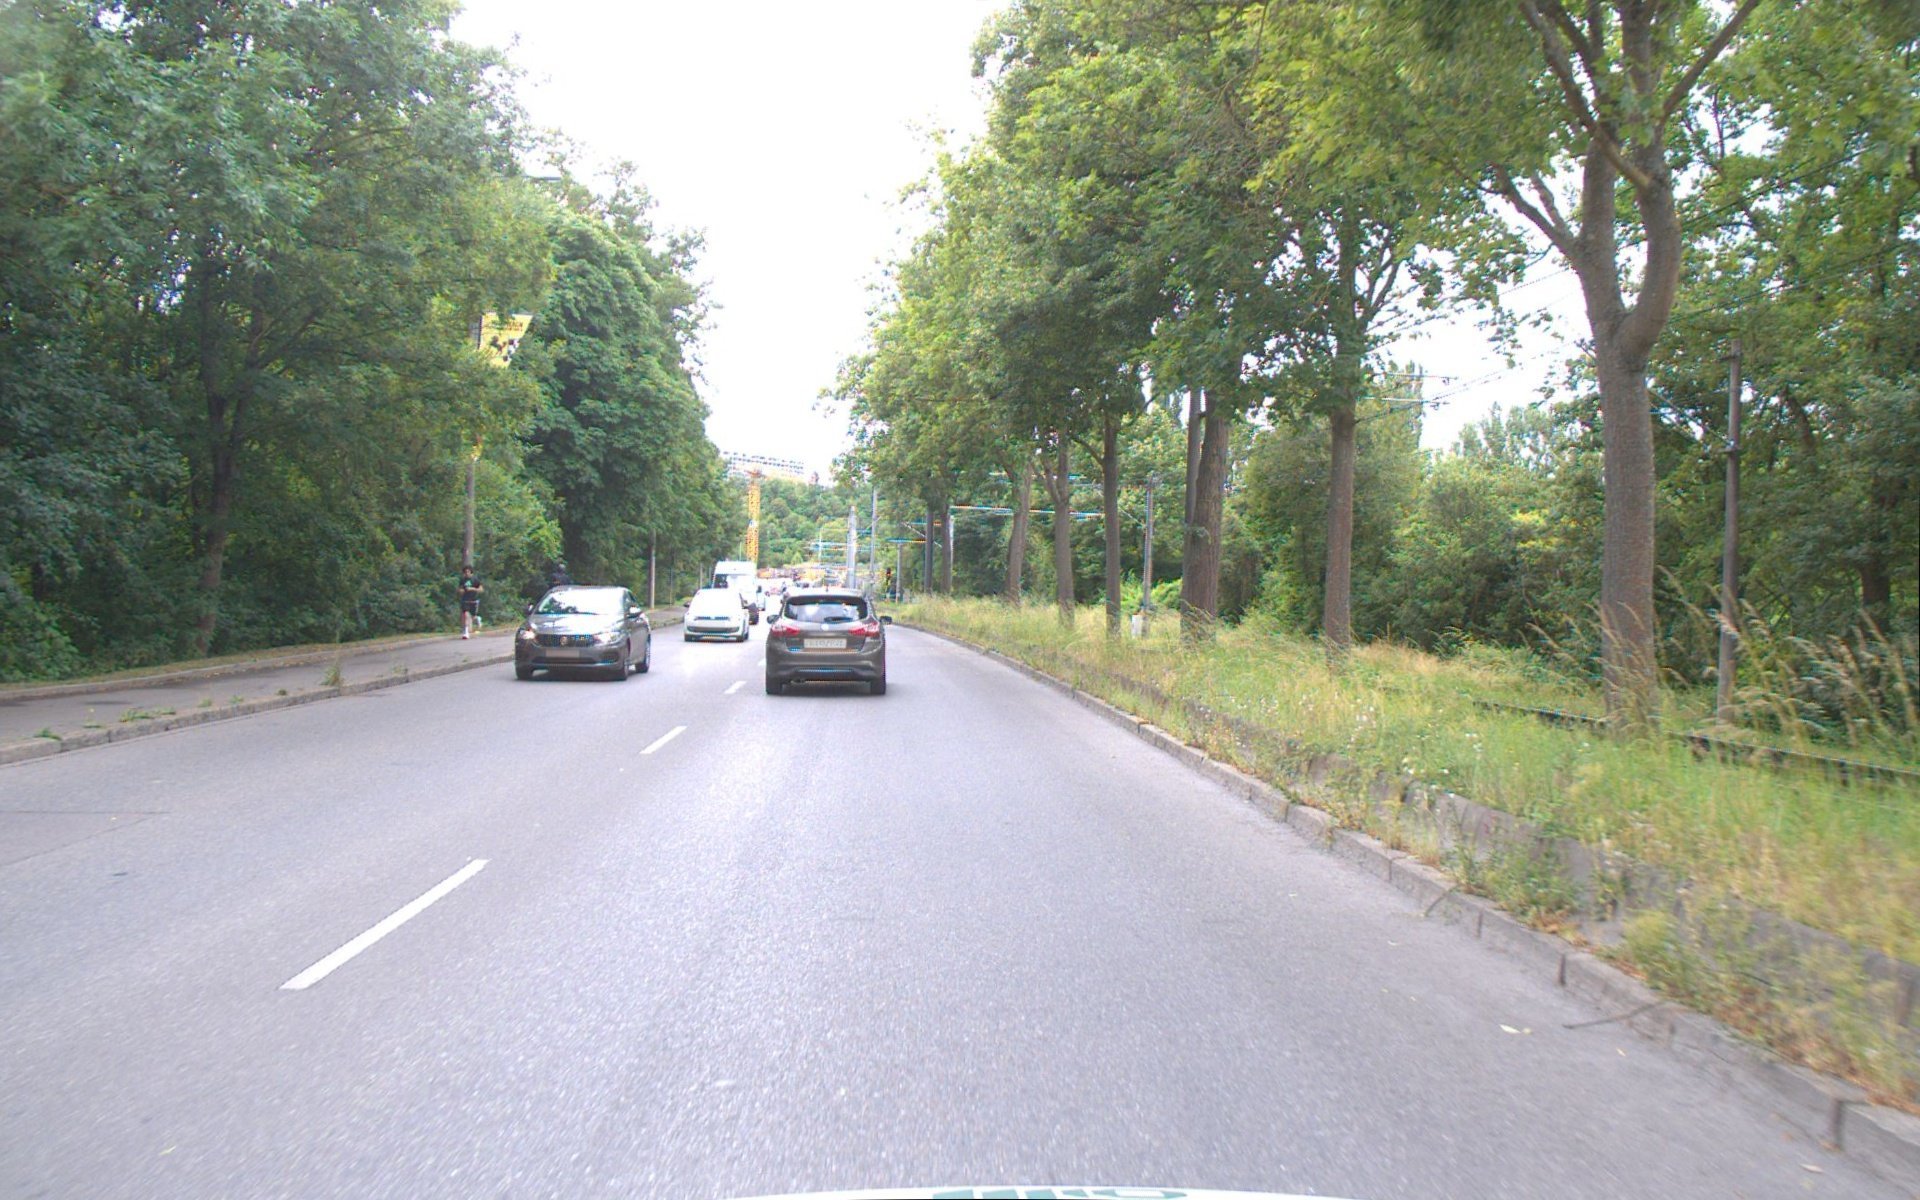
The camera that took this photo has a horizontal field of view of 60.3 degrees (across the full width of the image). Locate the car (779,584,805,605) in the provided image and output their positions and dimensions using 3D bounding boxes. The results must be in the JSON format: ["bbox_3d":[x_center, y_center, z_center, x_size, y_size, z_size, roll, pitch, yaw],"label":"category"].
[{"bbox_3d":[-13.536,-0.455,133.435,1.740,1.497,3.999,3,1,-3],"label":"car"}]

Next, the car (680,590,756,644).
[{"bbox_3d":[-6.790,0.446,46.681,1.690,1.353,3.474,2,1,-2],"label":"car"}]

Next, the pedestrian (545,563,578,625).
[{"bbox_3d":[-10.582,-0.157,43.950,0.605,1.598,0.849,3,1,0],"label":"pedestrian"}]

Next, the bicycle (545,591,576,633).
[{"bbox_3d":[-10.628,0.319,44.023,0.478,1.048,1.124,3,1,0],"label":"bicycle"}]

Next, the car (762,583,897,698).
[{"bbox_3d":[-1.909,0.550,25.178,1.779,1.534,4.000,1,1,-1],"label":"car"}]

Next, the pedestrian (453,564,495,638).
[{"bbox_3d":[-11.218,0.010,38.175,0.681,1.650,0.684,3,1,-1],"label":"pedestrian"}]

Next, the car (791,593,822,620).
[{"bbox_3d":[-9.635,0.396,103.516,1.742,1.497,3.994,3,1,-7],"label":"car"}]

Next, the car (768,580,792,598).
[{"bbox_3d":[-16.023,-0.971,147.410,1.740,1.497,3.999,2,1,-3],"label":"car"}]

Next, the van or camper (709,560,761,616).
[{"bbox_3d":[-9.469,-0.536,69.813,1.888,2.188,3.928,3,1,-6],"label":"van or camper"}]

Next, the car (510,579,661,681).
[{"bbox_3d":[-6.154,0.455,27.590,1.714,1.489,3.918,3,0,-2],"label":"car"}]
